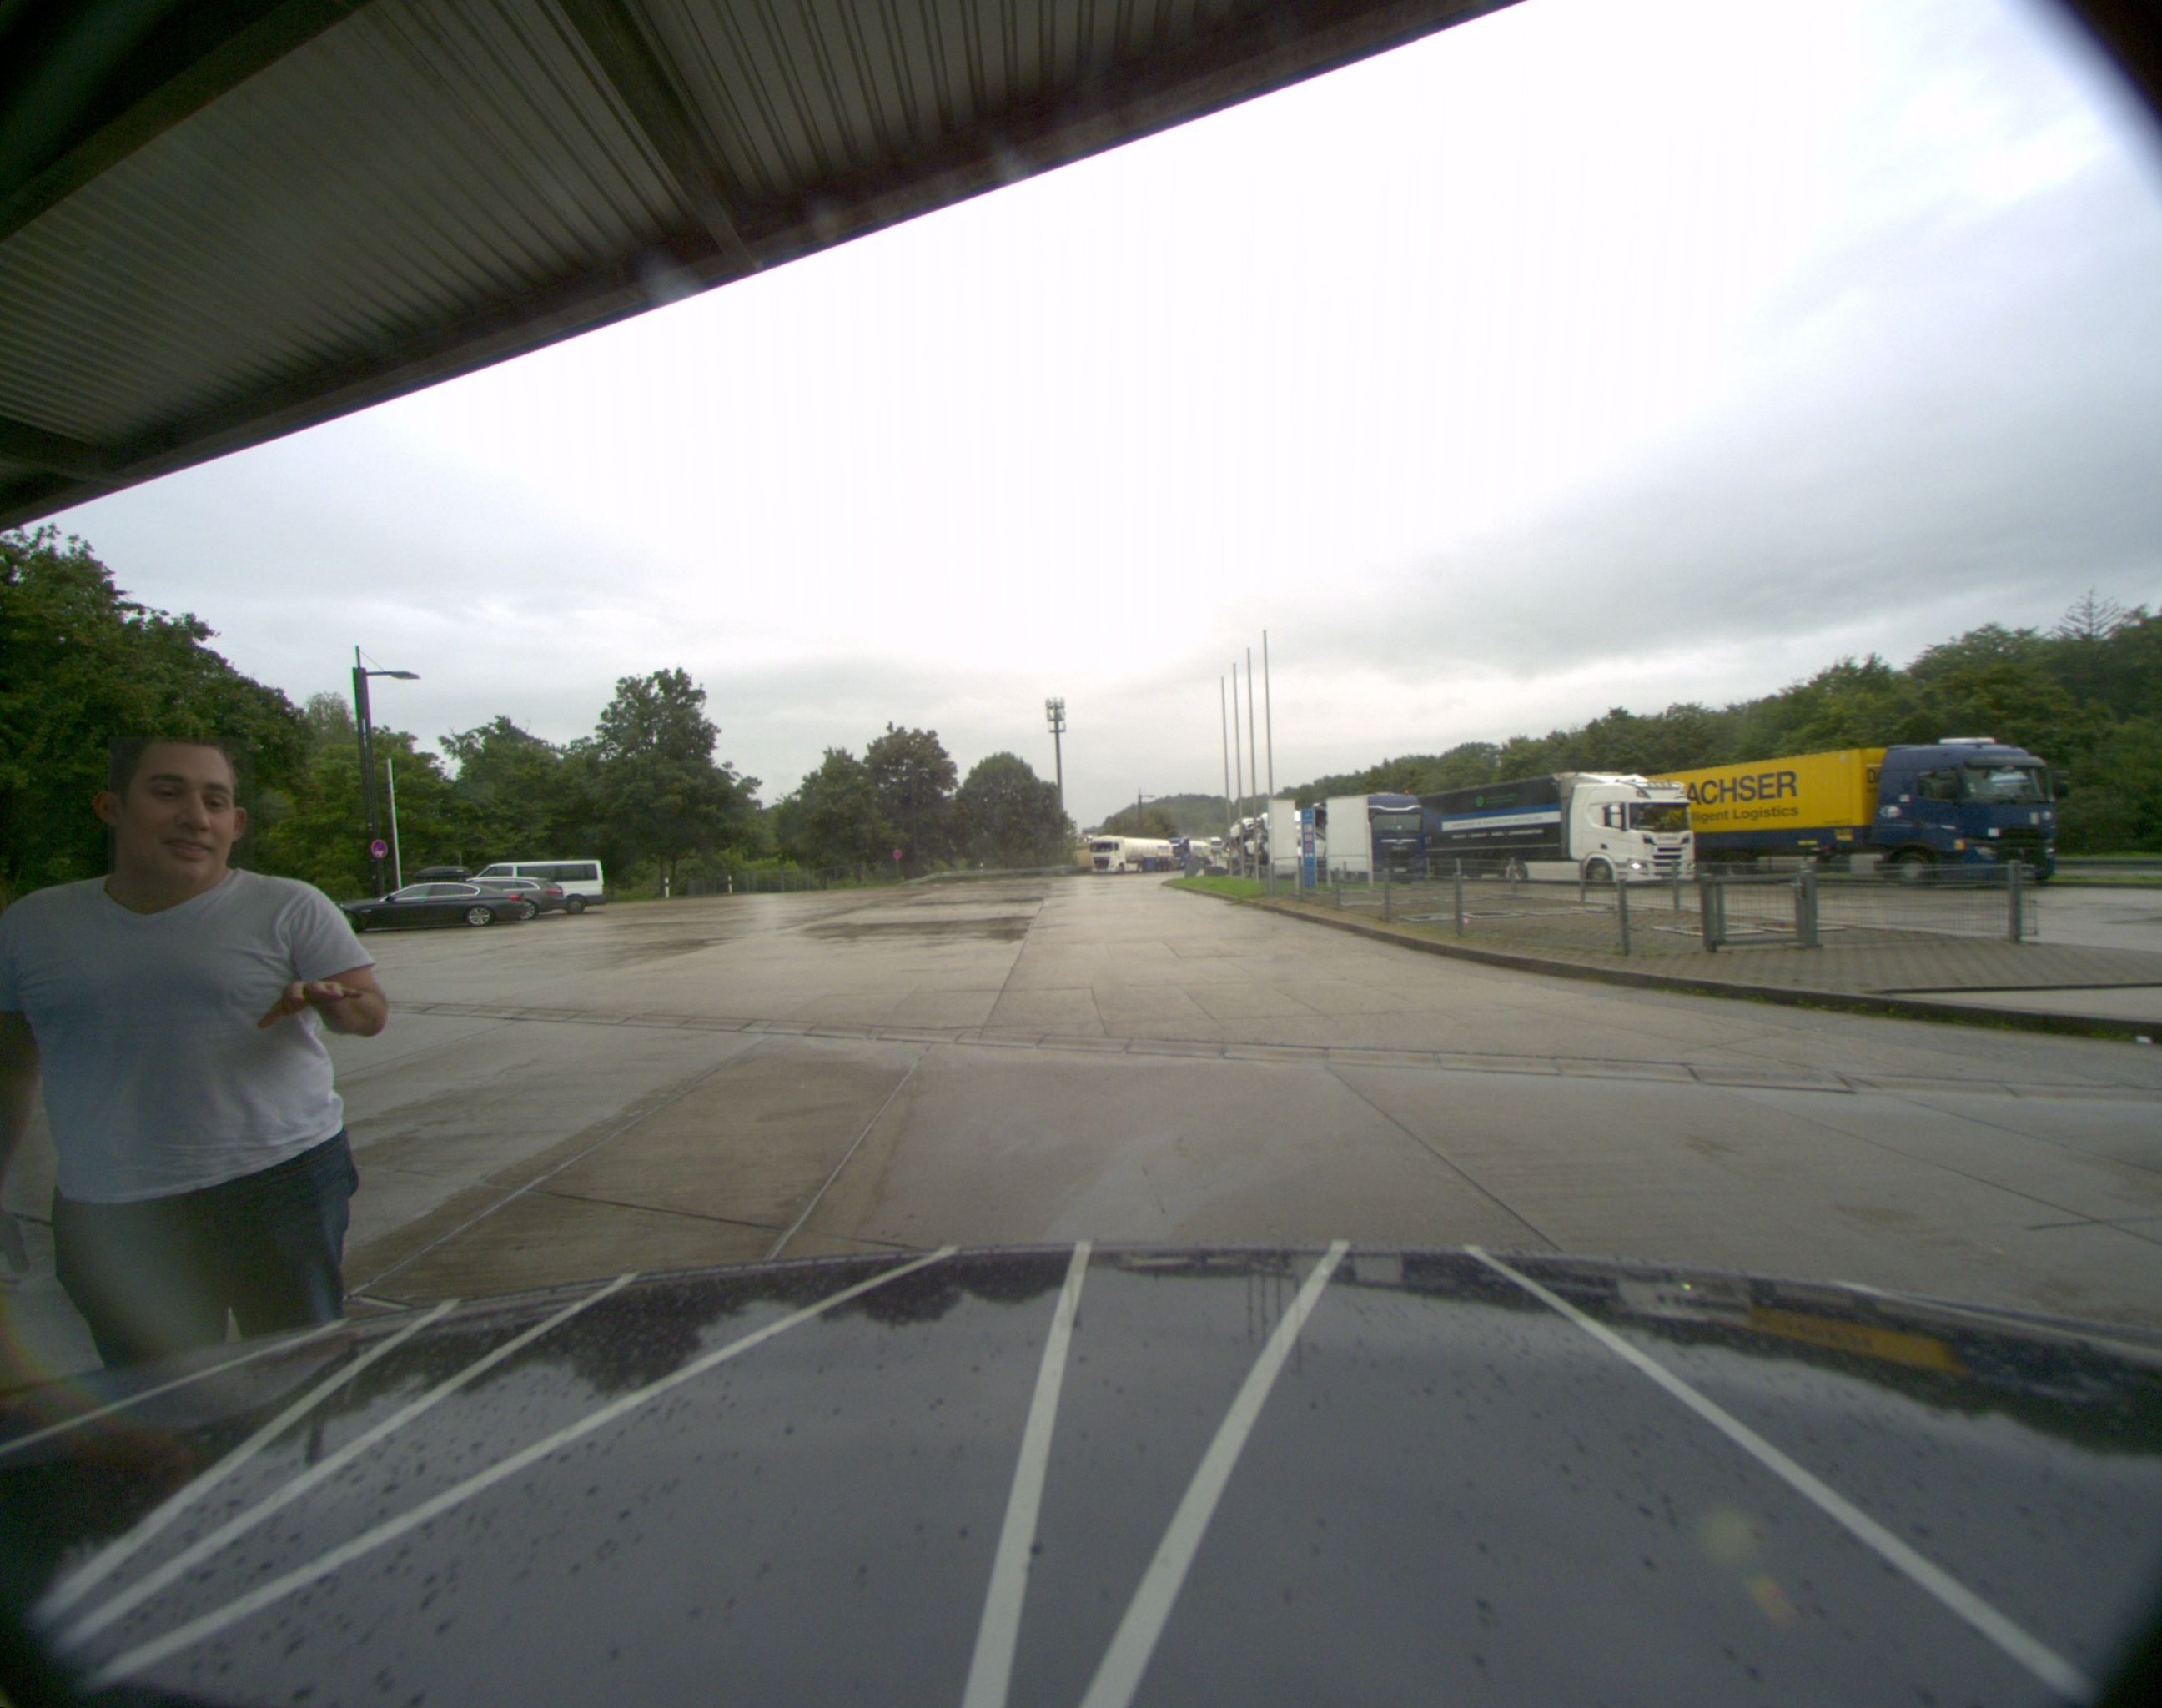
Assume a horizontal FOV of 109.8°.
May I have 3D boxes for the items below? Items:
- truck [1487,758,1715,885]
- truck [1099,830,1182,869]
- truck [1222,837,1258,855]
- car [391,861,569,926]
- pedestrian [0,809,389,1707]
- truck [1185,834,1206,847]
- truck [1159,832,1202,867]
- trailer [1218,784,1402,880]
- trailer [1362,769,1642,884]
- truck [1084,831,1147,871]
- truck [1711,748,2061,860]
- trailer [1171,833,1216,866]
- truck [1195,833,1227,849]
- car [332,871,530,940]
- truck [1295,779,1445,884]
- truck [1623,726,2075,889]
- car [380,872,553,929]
[{"bbox_3d":[18.653,-1.083,27.911,2.991,4.009,6.735,-2,1,-10],"label":"truck"},{"bbox_3d":[6.206,-0.522,76.351,3.243,3.544,11.995,-2,1,31],"label":"truck"},{"bbox_3d":[34.778,-1.691,166.959,3.251,3.543,14.657,-2,0,-7],"label":"truck"},{"bbox_3d":[-21.308,1.329,27.213,4.780,1.974,2.010,-2,0,-36],"label":"car"},{"bbox_3d":[-1.880,0.830,1.470,0.635,1.800,0.493,-4,3,-34],"label":"pedestrian"},{"bbox_3d":[33.208,-3.940,220.005,3.251,3.543,11.968,-2,1,-5],"label":"truck"},{"bbox_3d":[11.335,-0.524,85.735,3.045,3.745,6.475,-2,1,23],"label":"truck"},{"bbox_3d":[11.378,-0.998,40.940,2.990,4.009,16.597,-2,1,-7],"label":"trailer"},{"bbox_3d":[17.613,-1.029,33.978,2.991,4.009,13.795,-2,1,-9],"label":"trailer"},{"bbox_3d":[3.323,-0.356,71.440,3.243,3.544,6.114,-2,1,31],"label":"truck"},{"bbox_3d":[33.775,-1.873,32.930,2.991,4.009,10.464,-2,1,-10],"label":"truck"},{"bbox_3d":[13.676,-0.651,91.442,2.898,3.618,10.586,-2,1,22],"label":"trailer"},{"bbox_3d":[32.146,-3.133,188.533,3.251,3.543,16.548,-2,1,-7],"label":"truck"},{"bbox_3d":[-19.120,1.449,22.645,4.187,1.720,1.995,-2,0,-33],"label":"car"},{"bbox_3d":[12.306,-0.922,33.249,2.990,4.009,7.259,-2,1,-7],"label":"truck"},{"bbox_3d":[23.063,-1.212,24.309,2.774,4.009,10.632,-2,1,-8],"label":"truck"},{"bbox_3d":[-20.026,1.464,25.046,4.187,1.547,1.995,-2,0,-33],"label":"car"}]
